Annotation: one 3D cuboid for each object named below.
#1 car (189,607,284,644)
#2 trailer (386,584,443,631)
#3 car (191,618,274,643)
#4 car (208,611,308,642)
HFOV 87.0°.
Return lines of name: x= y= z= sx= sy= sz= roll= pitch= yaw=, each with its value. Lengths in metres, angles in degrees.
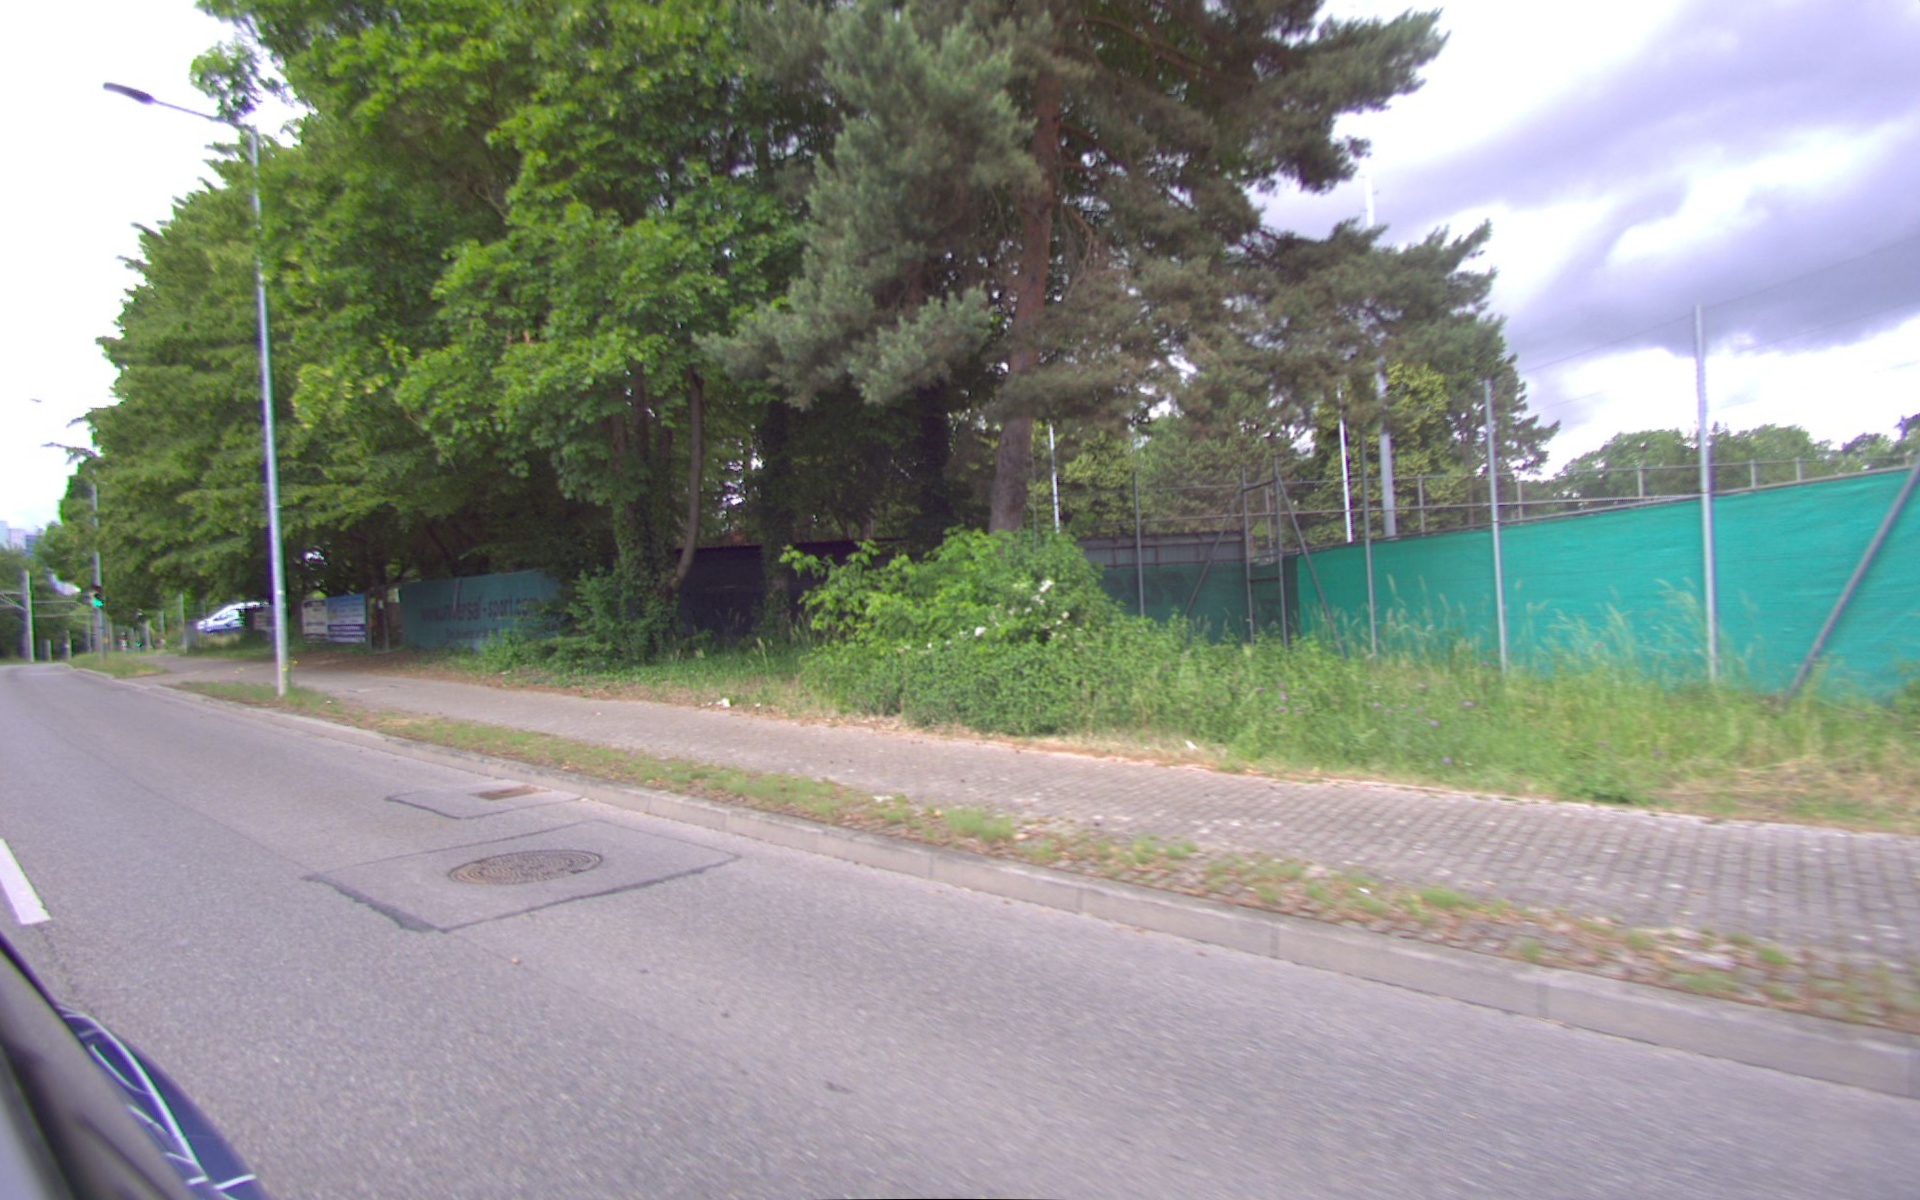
car: x=-49.352 y=1.700 z=69.137 sx=5.089 sy=2.122 sz=2.219 roll=-4 pitch=-1 yaw=-36
trailer: x=-39.236 y=0.614 z=72.647 sx=2.613 sy=3.097 sz=7.213 roll=-4 pitch=1 yaw=-35
car: x=-47.724 y=2.005 z=66.491 sx=4.320 sy=1.326 sz=1.566 roll=-4 pitch=-1 yaw=-36
car: x=-44.397 y=1.677 z=64.113 sx=5.089 sy=1.573 sz=1.890 roll=-4 pitch=-1 yaw=-36
